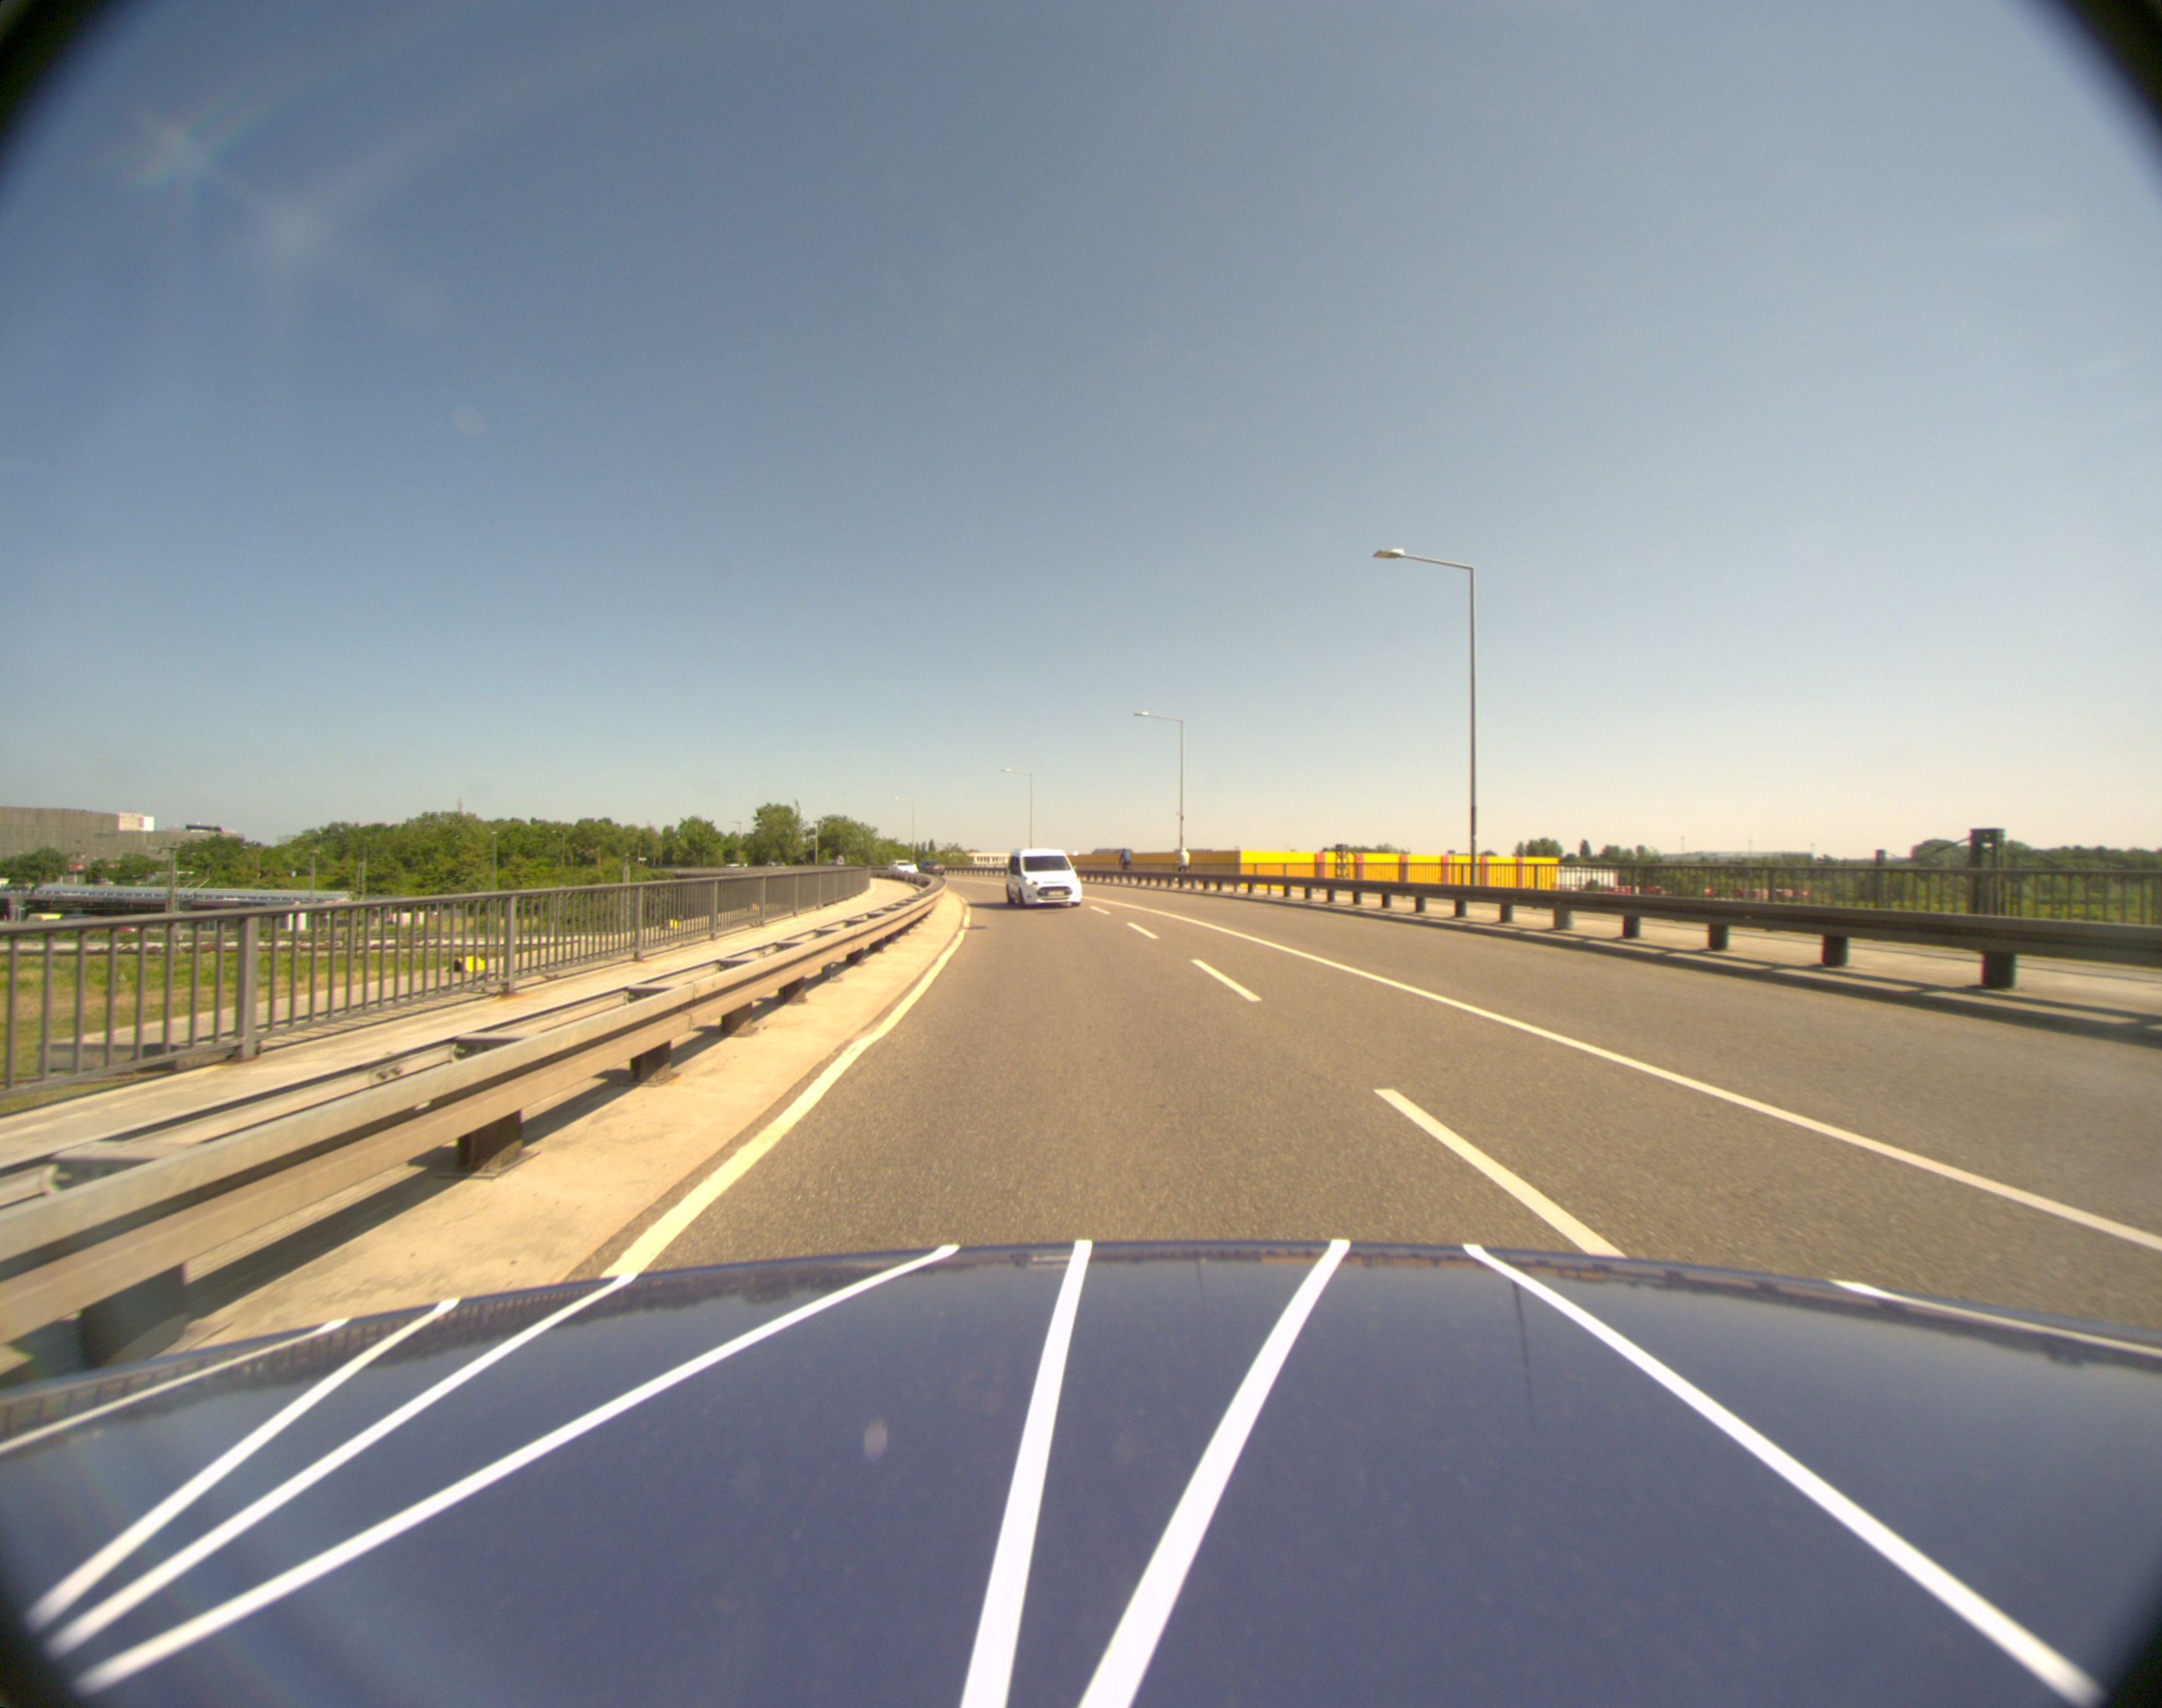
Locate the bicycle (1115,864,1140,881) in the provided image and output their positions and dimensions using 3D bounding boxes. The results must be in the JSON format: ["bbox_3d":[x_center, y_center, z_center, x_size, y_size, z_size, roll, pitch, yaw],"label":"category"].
[{"bbox_3d":[2.656,1.053,43.307,0.932,0.886,1.965,-1,-1,-12],"label":"bicycle"}]

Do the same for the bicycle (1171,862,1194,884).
[{"bbox_3d":[4.919,0.905,37.003,0.576,1.040,1.708,1,-1,-12],"label":"bicycle"}]

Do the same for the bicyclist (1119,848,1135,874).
[{"bbox_3d":[2.617,0.402,43.344,0.662,1.487,1.015,-2,0,-12],"label":"bicyclist"}]

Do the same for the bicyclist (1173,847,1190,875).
[{"bbox_3d":[4.883,0.329,36.938,0.490,1.321,0.945,-2,2,-13],"label":"bicyclist"}]

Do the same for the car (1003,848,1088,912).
[{"bbox_3d":[-1.230,0.741,24.053,1.899,1.785,4.442,-2,0,-13],"label":"car"}]

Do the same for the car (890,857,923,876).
[{"bbox_3d":[-15.179,1.079,65.855,1.849,1.479,4.143,-2,0,-26],"label":"car"}]

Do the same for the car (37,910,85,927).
[{"bbox_3d":[-125.496,7.932,93.509,3.992,1.861,2.001,-2,5,15],"label":"car"}]

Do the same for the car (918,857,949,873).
[{"bbox_3d":[-13.730,1.037,70.502,1.826,1.421,4.855,-2,0,-22],"label":"car"}]

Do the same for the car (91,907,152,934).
[{"bbox_3d":[-112.816,7.810,89.368,5.367,2.650,2.309,1,5,15],"label":"car"}]
